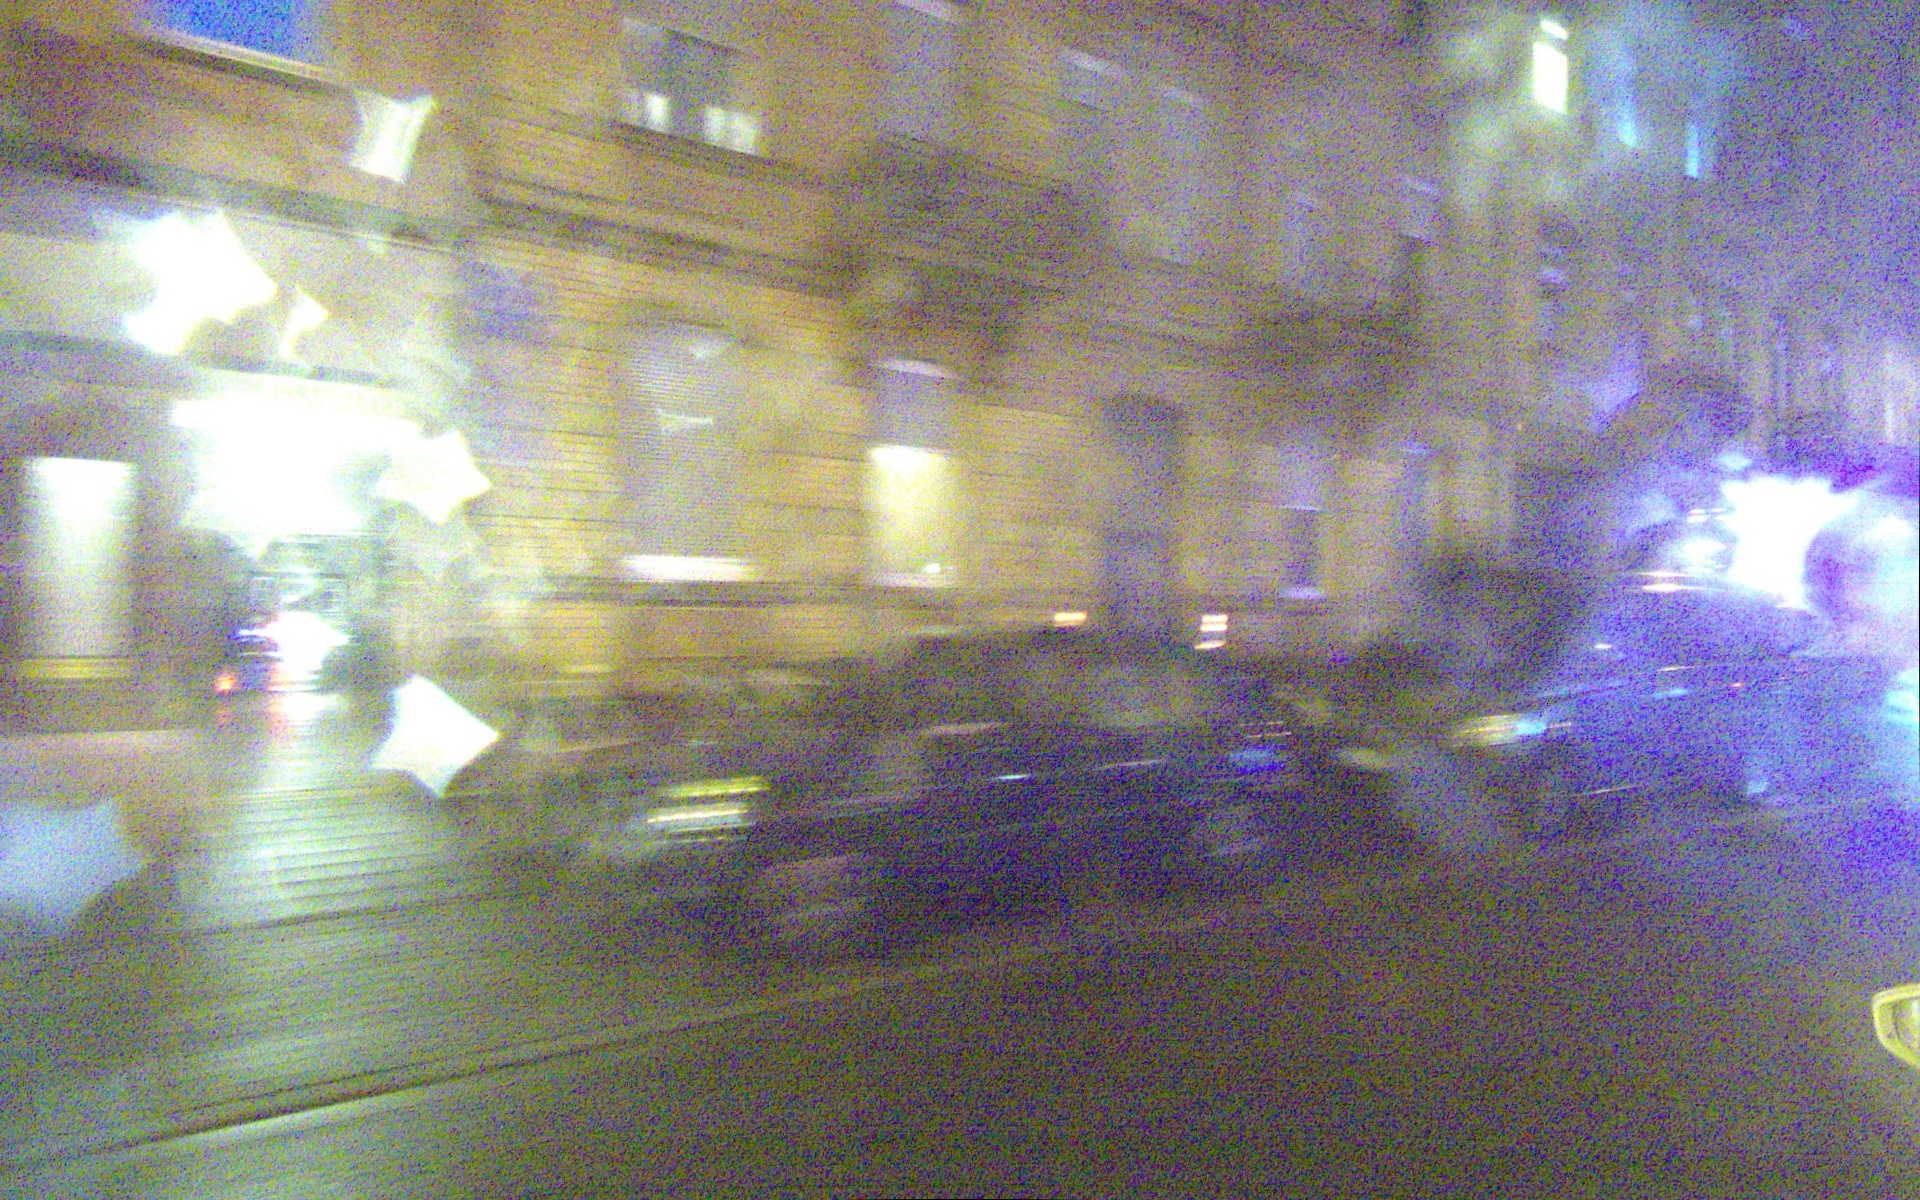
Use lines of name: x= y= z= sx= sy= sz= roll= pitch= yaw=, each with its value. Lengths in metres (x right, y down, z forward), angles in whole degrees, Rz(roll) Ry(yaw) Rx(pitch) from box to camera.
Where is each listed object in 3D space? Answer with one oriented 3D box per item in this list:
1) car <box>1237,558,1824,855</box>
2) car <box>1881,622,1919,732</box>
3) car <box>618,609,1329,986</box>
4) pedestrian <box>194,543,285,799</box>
car: x=4.916 y=0.711 z=8.441 sx=5.145 sy=1.853 sz=1.987 roll=1 pitch=-1 yaw=-30
car: x=15.569 y=1.133 z=14.637 sx=4.715 sy=1.503 sz=1.759 roll=1 pitch=2 yaw=-30
car: x=0.163 y=0.811 z=5.564 sx=3.675 sy=1.479 sz=1.562 roll=1 pitch=-1 yaw=-30
pedestrian: x=-5.362 y=0.511 z=7.496 sx=0.454 sy=1.812 sz=0.592 roll=0 pitch=-2 yaw=-27
